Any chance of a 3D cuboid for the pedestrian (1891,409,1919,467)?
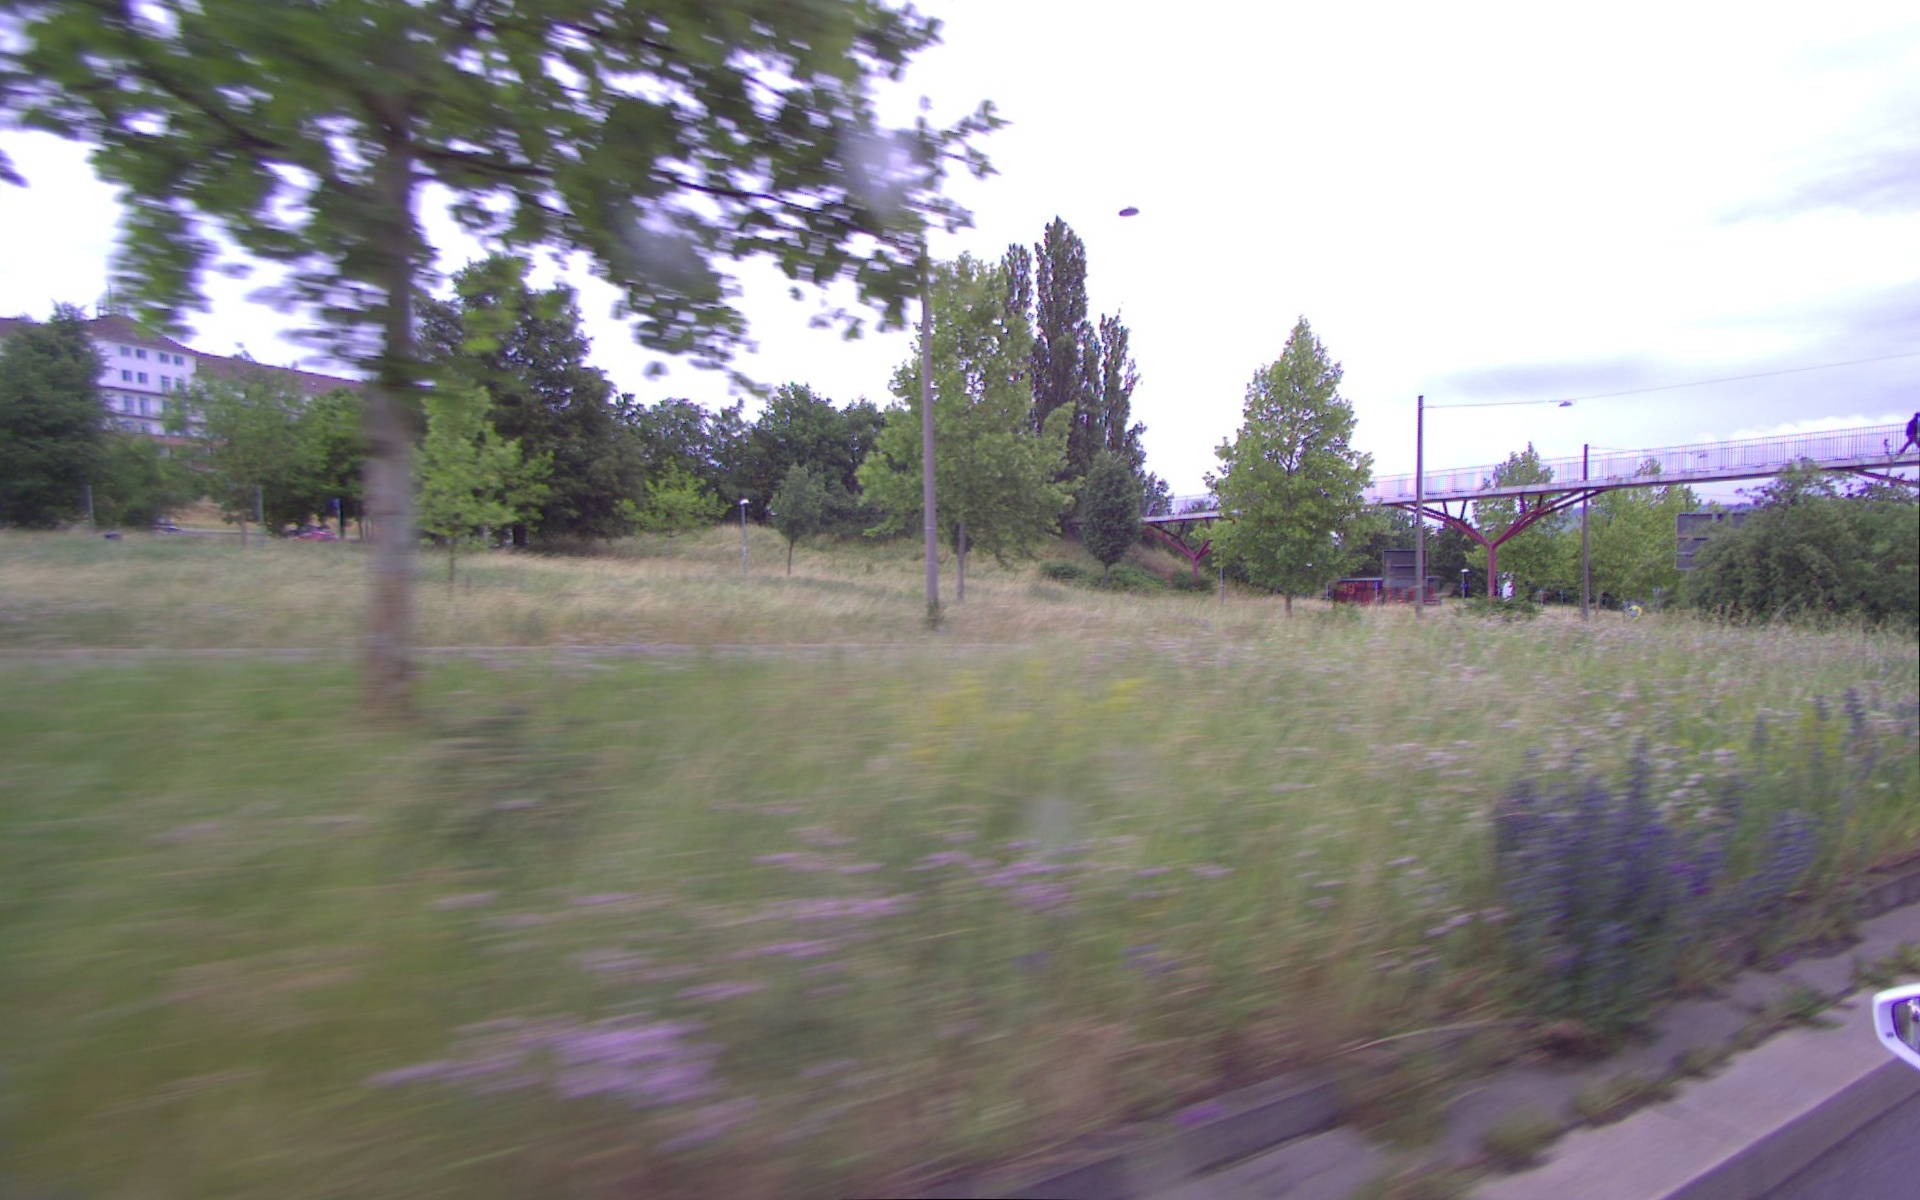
[{"bbox_3d":[39.258,-6.691,41.609,0.726,2.171,0.907,1,-2,-40],"label":"pedestrian"}]
